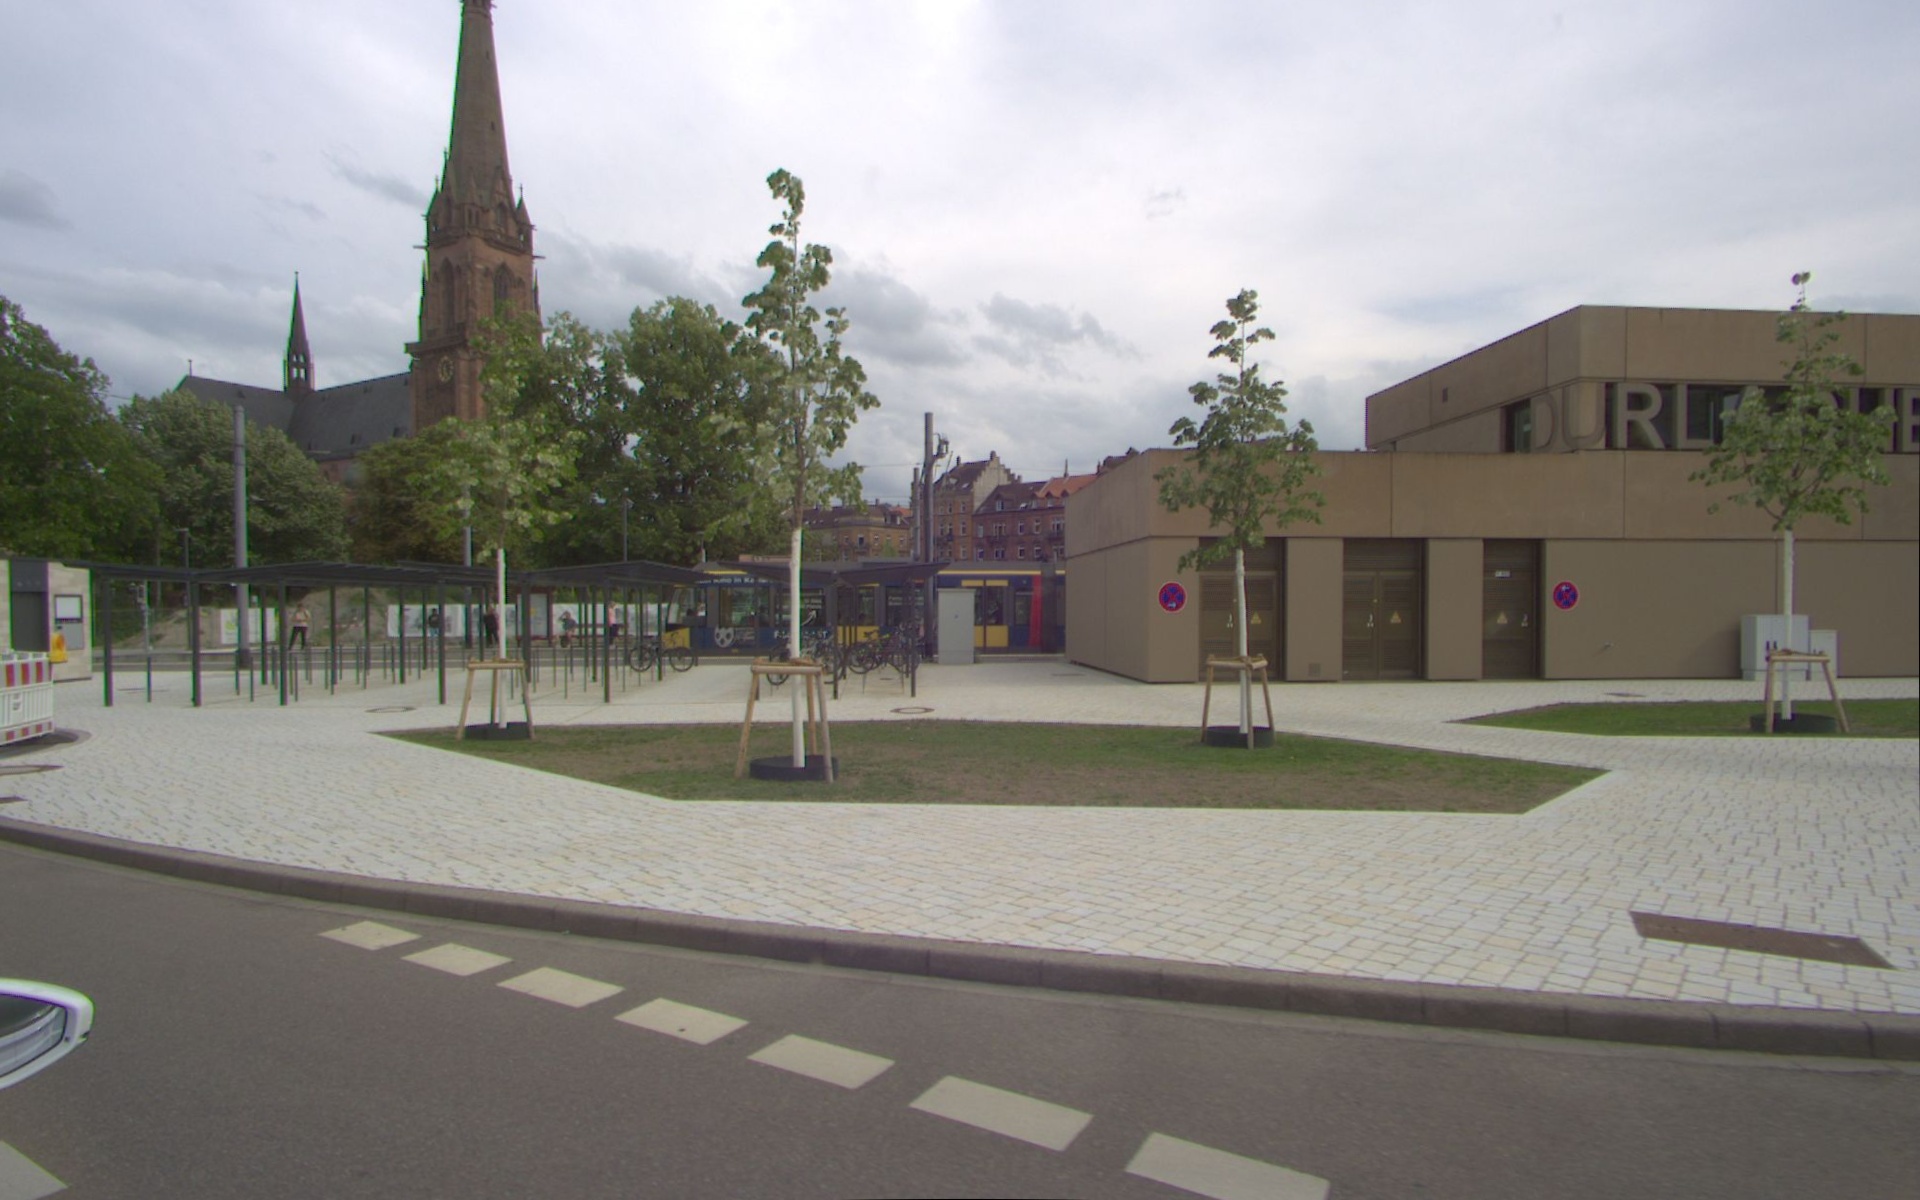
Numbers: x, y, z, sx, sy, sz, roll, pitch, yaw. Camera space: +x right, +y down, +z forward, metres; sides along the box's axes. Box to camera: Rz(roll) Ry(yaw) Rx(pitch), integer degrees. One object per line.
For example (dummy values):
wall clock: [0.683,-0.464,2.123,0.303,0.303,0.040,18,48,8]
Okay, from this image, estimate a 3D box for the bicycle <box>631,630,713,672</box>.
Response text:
bicycle: [-7.345,1.296,25.573,1.929,0.968,0.583,2,1,-7]

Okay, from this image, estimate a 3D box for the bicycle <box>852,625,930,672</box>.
bicycle: [-1.809,1.268,26.267,1.930,1.172,0.583,2,1,-13]

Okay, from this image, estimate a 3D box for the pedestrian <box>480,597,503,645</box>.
pedestrian: [-18.030,0.808,38.526,0.665,1.825,0.522,2,1,-11]

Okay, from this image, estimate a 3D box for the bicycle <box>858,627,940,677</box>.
bicycle: [-1.507,1.292,24.844,1.930,1.172,0.583,2,1,-13]

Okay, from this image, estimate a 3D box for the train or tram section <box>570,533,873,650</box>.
train or tram section: [-7.522,-0.255,32.764,9.189,3.321,3.061,2,1,-4]

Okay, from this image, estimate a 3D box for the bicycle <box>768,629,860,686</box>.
bicycle: [-3.221,1.261,22.003,1.930,1.172,0.583,2,1,-13]

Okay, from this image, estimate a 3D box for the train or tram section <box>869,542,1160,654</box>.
train or tram section: [1.679,-0.063,33.428,9.248,3.256,3.061,2,1,-4]

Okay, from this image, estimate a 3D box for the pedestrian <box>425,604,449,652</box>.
pedestrian: [-19.972,1.069,38.235,0.665,1.825,0.522,2,1,-11]

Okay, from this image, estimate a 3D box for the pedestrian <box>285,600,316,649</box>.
pedestrian: [-25.119,0.934,38.128,0.743,1.825,0.817,3,2,42]

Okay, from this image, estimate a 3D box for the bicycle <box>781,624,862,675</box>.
bicycle: [-3.434,1.226,24.780,1.930,1.172,0.583,2,1,-13]

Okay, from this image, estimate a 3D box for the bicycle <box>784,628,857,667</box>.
bicycle: [-3.772,1.286,27.163,1.929,0.983,0.583,2,1,-7]

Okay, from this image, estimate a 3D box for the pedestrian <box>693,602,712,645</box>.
pedestrian: [-10.367,0.927,40.293,0.665,1.701,0.709,2,1,-11]

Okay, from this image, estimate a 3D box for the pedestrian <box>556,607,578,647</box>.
pedestrian: [-15.268,1.042,38.904,0.665,1.505,0.689,2,1,-11]
